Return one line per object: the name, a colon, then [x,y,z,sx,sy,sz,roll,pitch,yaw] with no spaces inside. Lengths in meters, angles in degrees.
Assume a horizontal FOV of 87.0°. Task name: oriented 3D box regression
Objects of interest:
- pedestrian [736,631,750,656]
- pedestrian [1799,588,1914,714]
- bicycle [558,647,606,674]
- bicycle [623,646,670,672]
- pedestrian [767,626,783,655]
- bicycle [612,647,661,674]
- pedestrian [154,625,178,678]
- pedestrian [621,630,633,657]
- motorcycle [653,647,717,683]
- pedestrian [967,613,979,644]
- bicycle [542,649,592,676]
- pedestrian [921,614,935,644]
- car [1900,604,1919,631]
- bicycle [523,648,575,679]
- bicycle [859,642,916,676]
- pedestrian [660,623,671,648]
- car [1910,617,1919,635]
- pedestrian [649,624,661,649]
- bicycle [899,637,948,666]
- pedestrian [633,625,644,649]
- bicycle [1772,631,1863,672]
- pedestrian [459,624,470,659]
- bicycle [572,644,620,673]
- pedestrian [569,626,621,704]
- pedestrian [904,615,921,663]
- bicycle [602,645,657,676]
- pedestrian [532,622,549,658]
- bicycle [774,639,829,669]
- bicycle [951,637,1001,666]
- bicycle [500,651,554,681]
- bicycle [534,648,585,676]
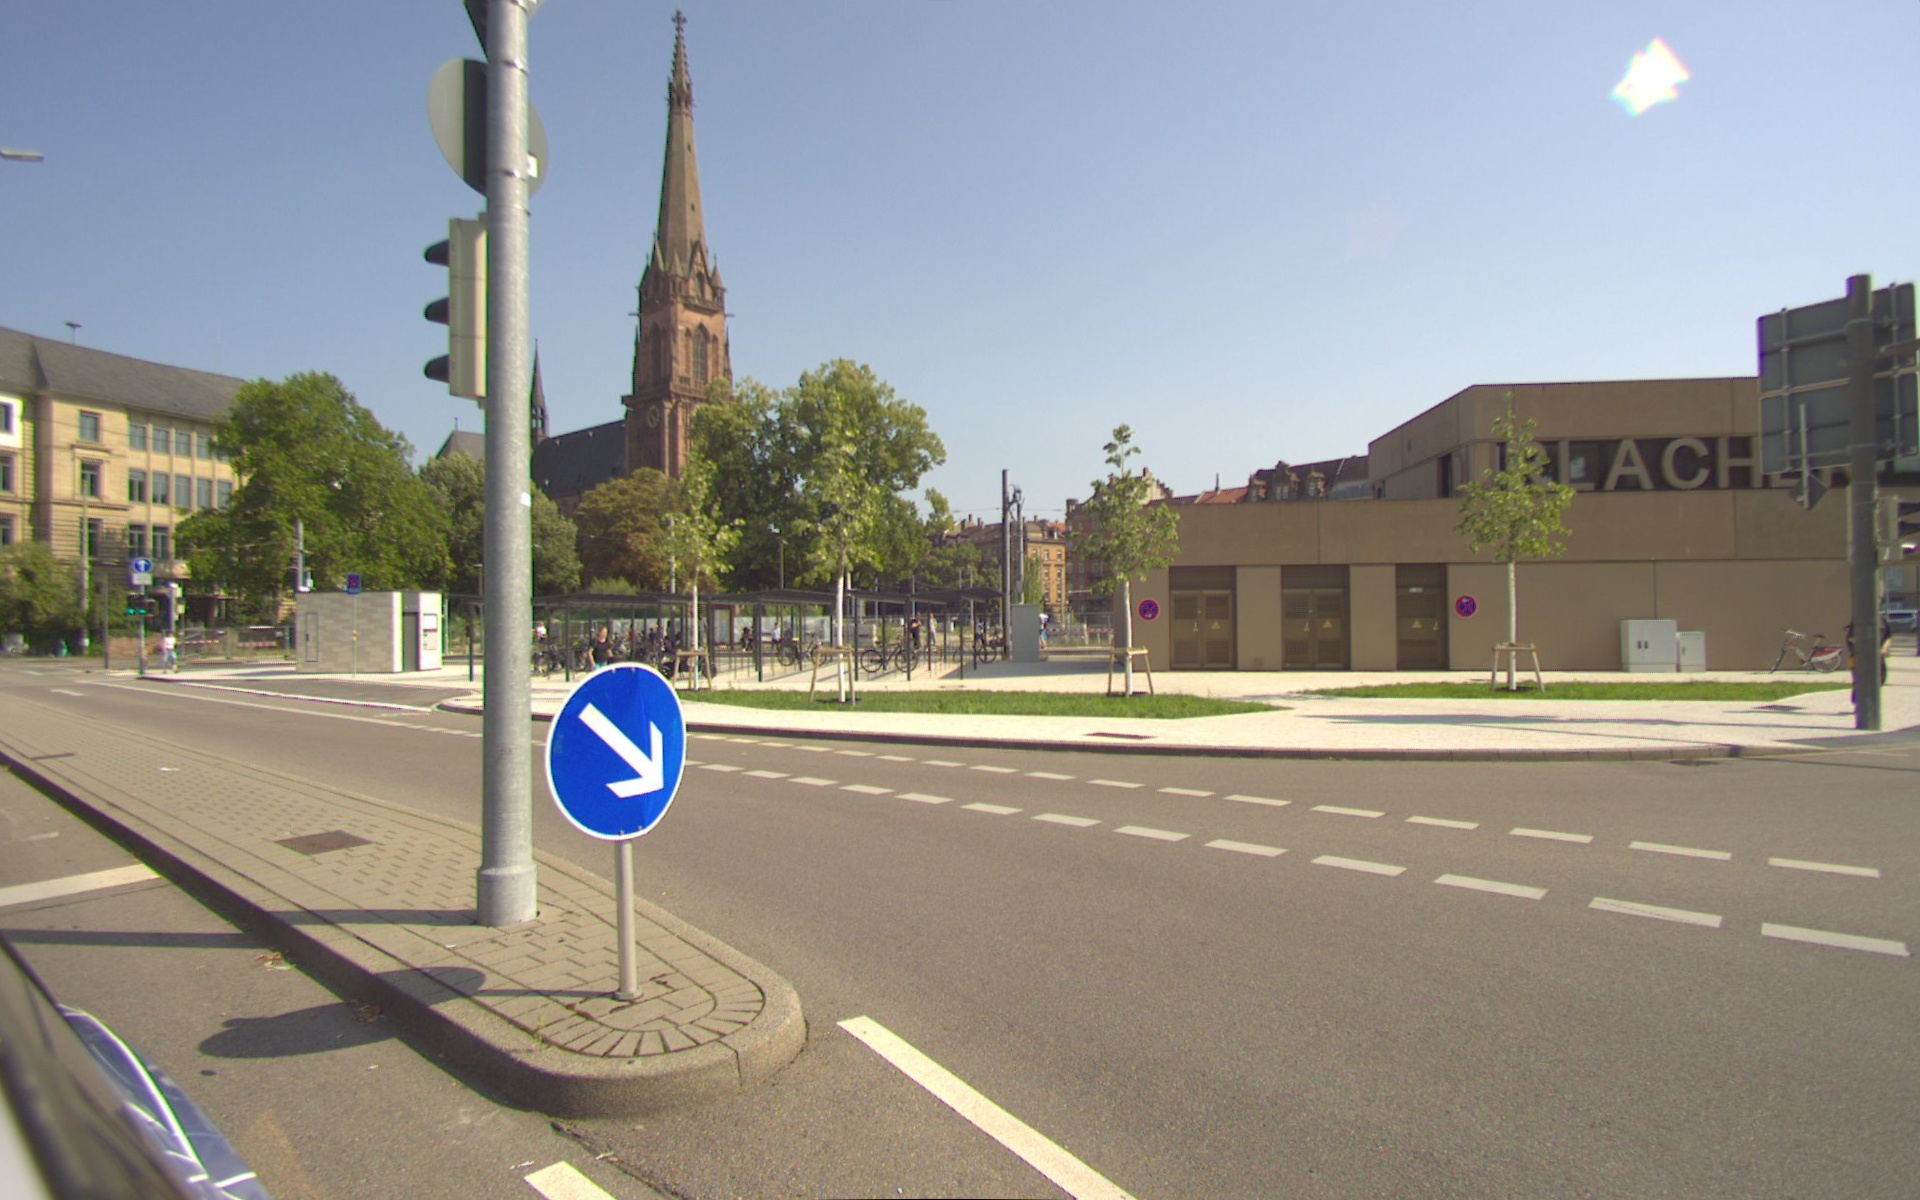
pedestrian: [-10.716,2.157,49.991,0.567,1.206,0.466,-1,-2,8]
pedestrian: [13.726,0.756,15.517,0.717,1.854,1.086,-1,-1,-29]
bicycle: [-13.107,2.105,35.130,1.569,0.899,0.400,-1,-1,8]
bicycle: [-11.166,2.108,36.087,1.569,0.899,0.409,-1,-1,8]
pedestrian: [-9.064,1.961,49.648,0.636,1.405,0.661,-1,-2,5]
bicycle: [-11.086,2.080,34.661,1.569,0.899,0.409,-1,-1,8]
pedestrian: [-31.070,2.004,39.607,0.722,2.029,0.715,0,-2,-40]
pedestrian: [-17.027,2.208,51.782,0.411,1.328,0.392,-2,0,12]
motorcycle: [-8.056,1.913,29.638,1.725,1.017,0.542,-1,-1,8]
pedestrian: [0.620,1.359,48.556,0.464,1.432,0.567,-2,0,9]
bicycle: [-13.197,2.101,34.011,1.569,0.899,0.409,-1,-1,8]
pedestrian: [-1.562,1.393,49.225,0.562,1.432,0.468,-2,0,9]
car: [73.770,1.282,75.109,1.968,2.029,5.572,0,-1,-38]
bicycle: [-13.296,2.052,32.743,1.569,0.975,0.421,-1,-1,8]
bicycle: [-2.246,1.826,31.407,1.725,1.017,0.400,-1,-1,8]
pedestrian: [-15.085,1.834,51.867,0.378,1.233,0.438,-2,0,8]
car: [67.418,1.779,68.812,1.549,1.189,3.852,3,-3,-34]
pedestrian: [-15.713,1.874,52.152,0.378,1.233,0.438,-2,0,8]
bicycle: [-1.316,1.863,36.490,1.725,1.017,0.400,-1,-1,8]
pedestrian: [-16.403,1.888,51.644,0.378,1.233,0.438,-2,0,8]
bicycle: [21.081,1.262,24.905,1.593,0.963,0.660,-1,0,6]
pedestrian: [-24.813,2.084,50.688,0.510,1.720,0.505,0,-1,-25]
bicycle: [-13.059,2.094,36.331,1.569,0.985,0.451,-1,0,8]
pedestrian: [-7.504,1.327,20.827,0.663,1.577,0.748,-1,-3,24]
pedestrian: [-1.802,1.493,38.504,0.585,1.815,0.333,-1,-2,3]
bicycle: [-10.959,2.019,33.573,1.693,0.994,0.532,-1,-1,8]
pedestrian: [-21.185,2.015,51.073,0.389,1.762,0.707,-2,-2,39]
bicycle: [-5.579,1.895,35.583,1.853,1.017,0.460,-1,-1,8]
bicycle: [0.562,1.833,36.038,1.723,1.028,0.473,-1,-2,6]
bicycle: [-13.485,2.061,31.490,1.569,0.899,0.400,-1,-1,8]
bicycle: [-13.232,2.059,33.439,1.569,0.899,0.400,-1,-1,8]
